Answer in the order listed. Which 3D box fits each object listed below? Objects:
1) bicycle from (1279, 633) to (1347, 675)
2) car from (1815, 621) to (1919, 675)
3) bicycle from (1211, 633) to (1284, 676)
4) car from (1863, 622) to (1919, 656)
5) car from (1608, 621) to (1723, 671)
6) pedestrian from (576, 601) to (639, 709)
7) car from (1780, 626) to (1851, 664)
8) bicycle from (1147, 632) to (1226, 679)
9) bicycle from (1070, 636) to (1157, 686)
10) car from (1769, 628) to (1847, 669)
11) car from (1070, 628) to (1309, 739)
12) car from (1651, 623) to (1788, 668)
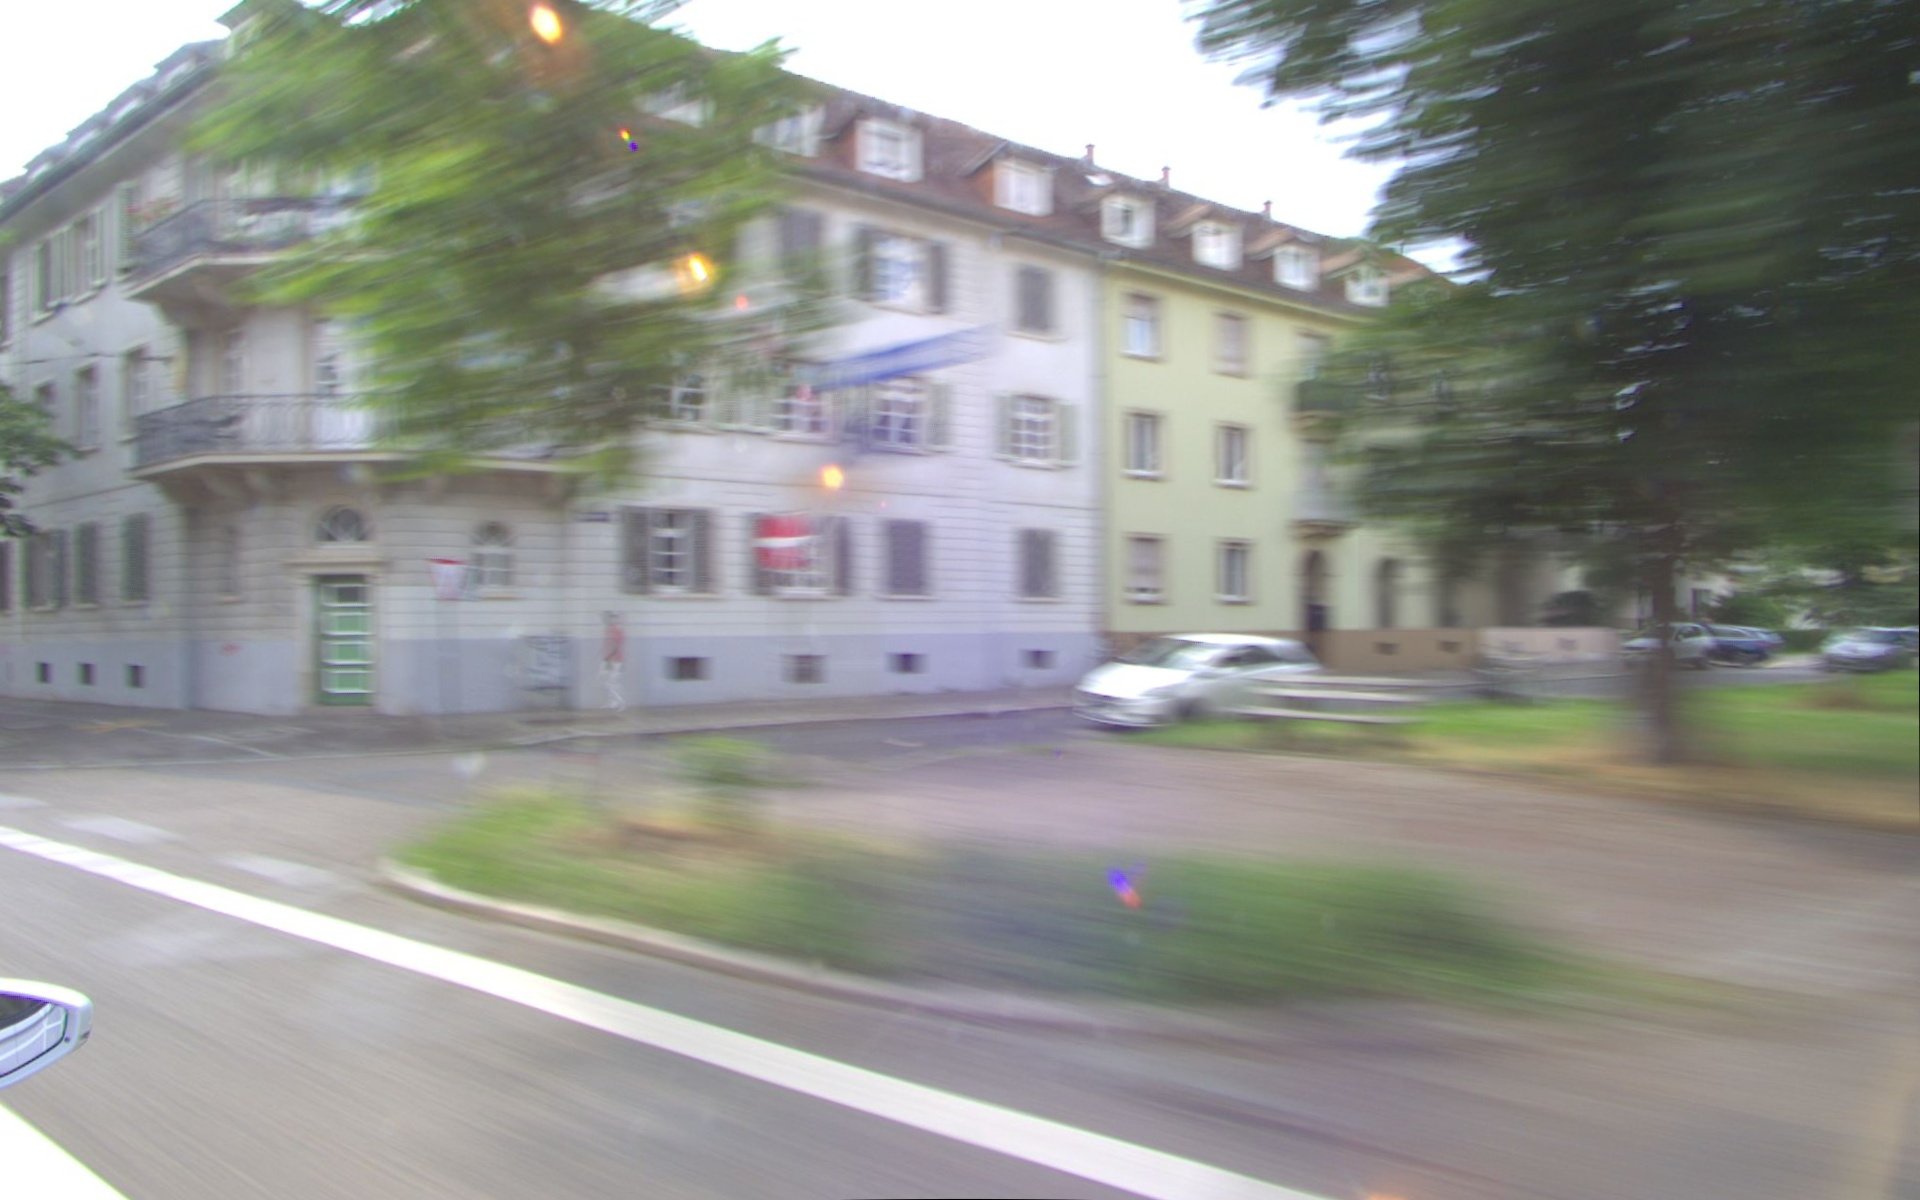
[{"bbox_3d":[10.726,1.607,30.362,2.486,1.163,0.677,1,2,-38],"label":"bicycle"},{"bbox_3d":[28.344,1.439,31.099,3.570,1.518,1.720,0,1,-32],"label":"car"},{"bbox_3d":[8.346,1.552,28.972,2.486,1.163,0.677,1,2,-38],"label":"bicycle"},{"bbox_3d":[44.065,1.809,47.153,3.287,1.518,1.378,0,1,-32],"label":"car"},{"bbox_3d":[24.876,1.583,35.308,4.010,1.600,1.886,0,1,-32],"label":"car"},{"bbox_3d":[-6.617,1.023,18.797,0.964,1.961,0.897,1,-2,-32],"label":"pedestrian"},{"bbox_3d":[36.829,1.890,43.112,3.287,1.518,1.378,0,1,-32],"label":"car"},{"bbox_3d":[6.257,1.502,27.528,2.486,1.163,0.677,1,2,-38],"label":"bicycle"},{"bbox_3d":[3.956,1.541,25.697,2.486,1.163,0.677,1,2,-38],"label":"bicycle"},{"bbox_3d":[33.581,1.887,39.647,3.287,1.518,1.378,0,1,-32],"label":"car"},{"bbox_3d":[3.715,1.253,16.105,3.570,1.518,1.720,0,1,-32],"label":"car"},{"bbox_3d":[29.464,1.717,38.927,1.875,1.518,3.887,0,1,-38],"label":"car"}]
